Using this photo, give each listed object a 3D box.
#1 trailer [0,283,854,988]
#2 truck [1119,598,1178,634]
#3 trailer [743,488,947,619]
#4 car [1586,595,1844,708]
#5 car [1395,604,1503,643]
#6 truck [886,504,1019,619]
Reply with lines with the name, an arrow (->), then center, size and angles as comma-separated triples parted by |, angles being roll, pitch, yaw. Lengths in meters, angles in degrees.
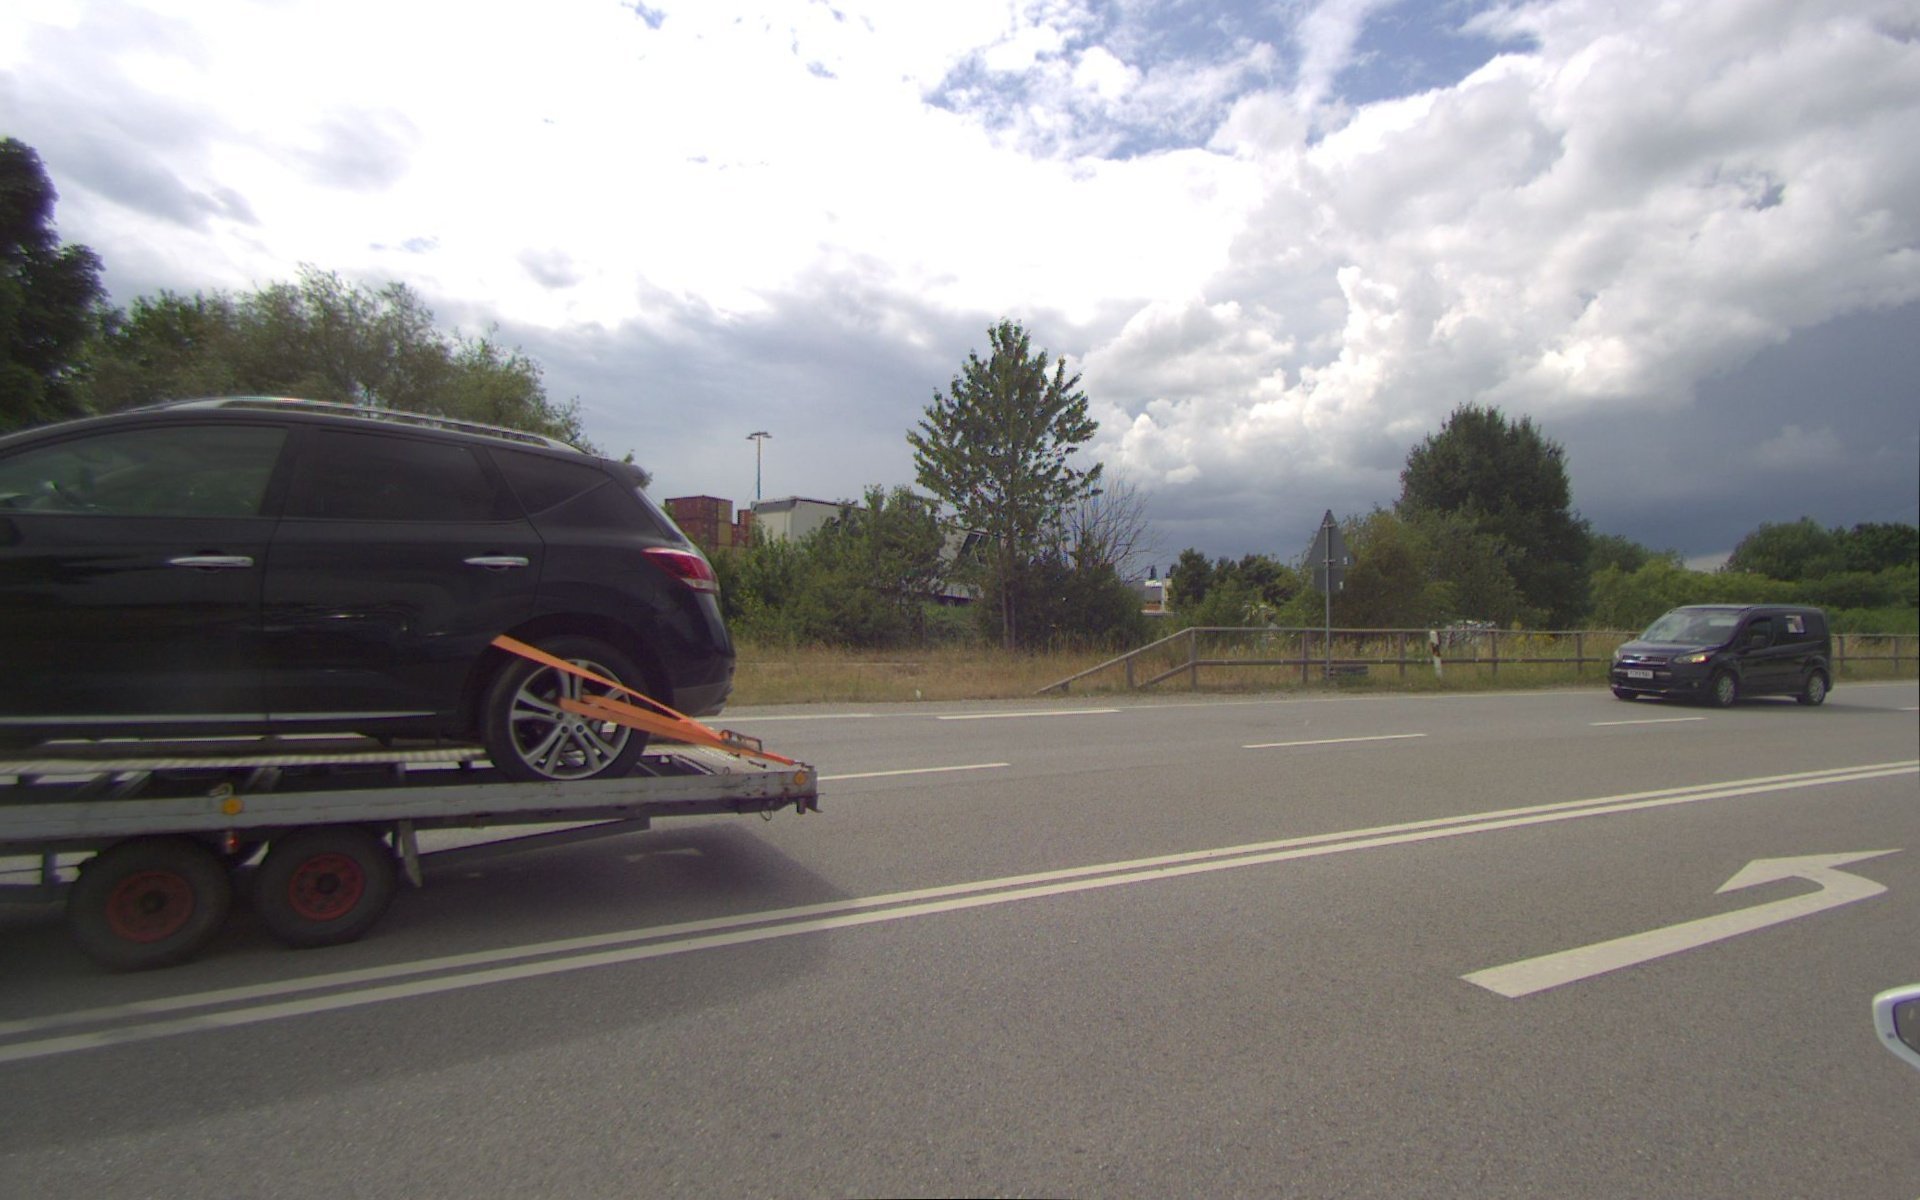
trailer -> -4.030, 0.114, 4.307 | 6.884, 2.477, 2.013 | 1, 0, -30
truck -> 15.346, 1.278, 81.280 | 2.606, 2.718, 6.642 | 1, 0, 30
trailer -> -4.676, -1.754, 42.903 | 2.768, 5.063, 8.932 | 2, 0, 43
car -> 13.612, 0.860, 18.097 | 4.262, 1.821, 1.987 | 1, 0, -26
car -> 24.805, 1.141, 51.099 | 1.984, 1.758, 4.530 | 0, 1, -40
truck -> -0.258, -1.689, 47.663 | 2.765, 5.063, 6.154 | 2, 0, 43
